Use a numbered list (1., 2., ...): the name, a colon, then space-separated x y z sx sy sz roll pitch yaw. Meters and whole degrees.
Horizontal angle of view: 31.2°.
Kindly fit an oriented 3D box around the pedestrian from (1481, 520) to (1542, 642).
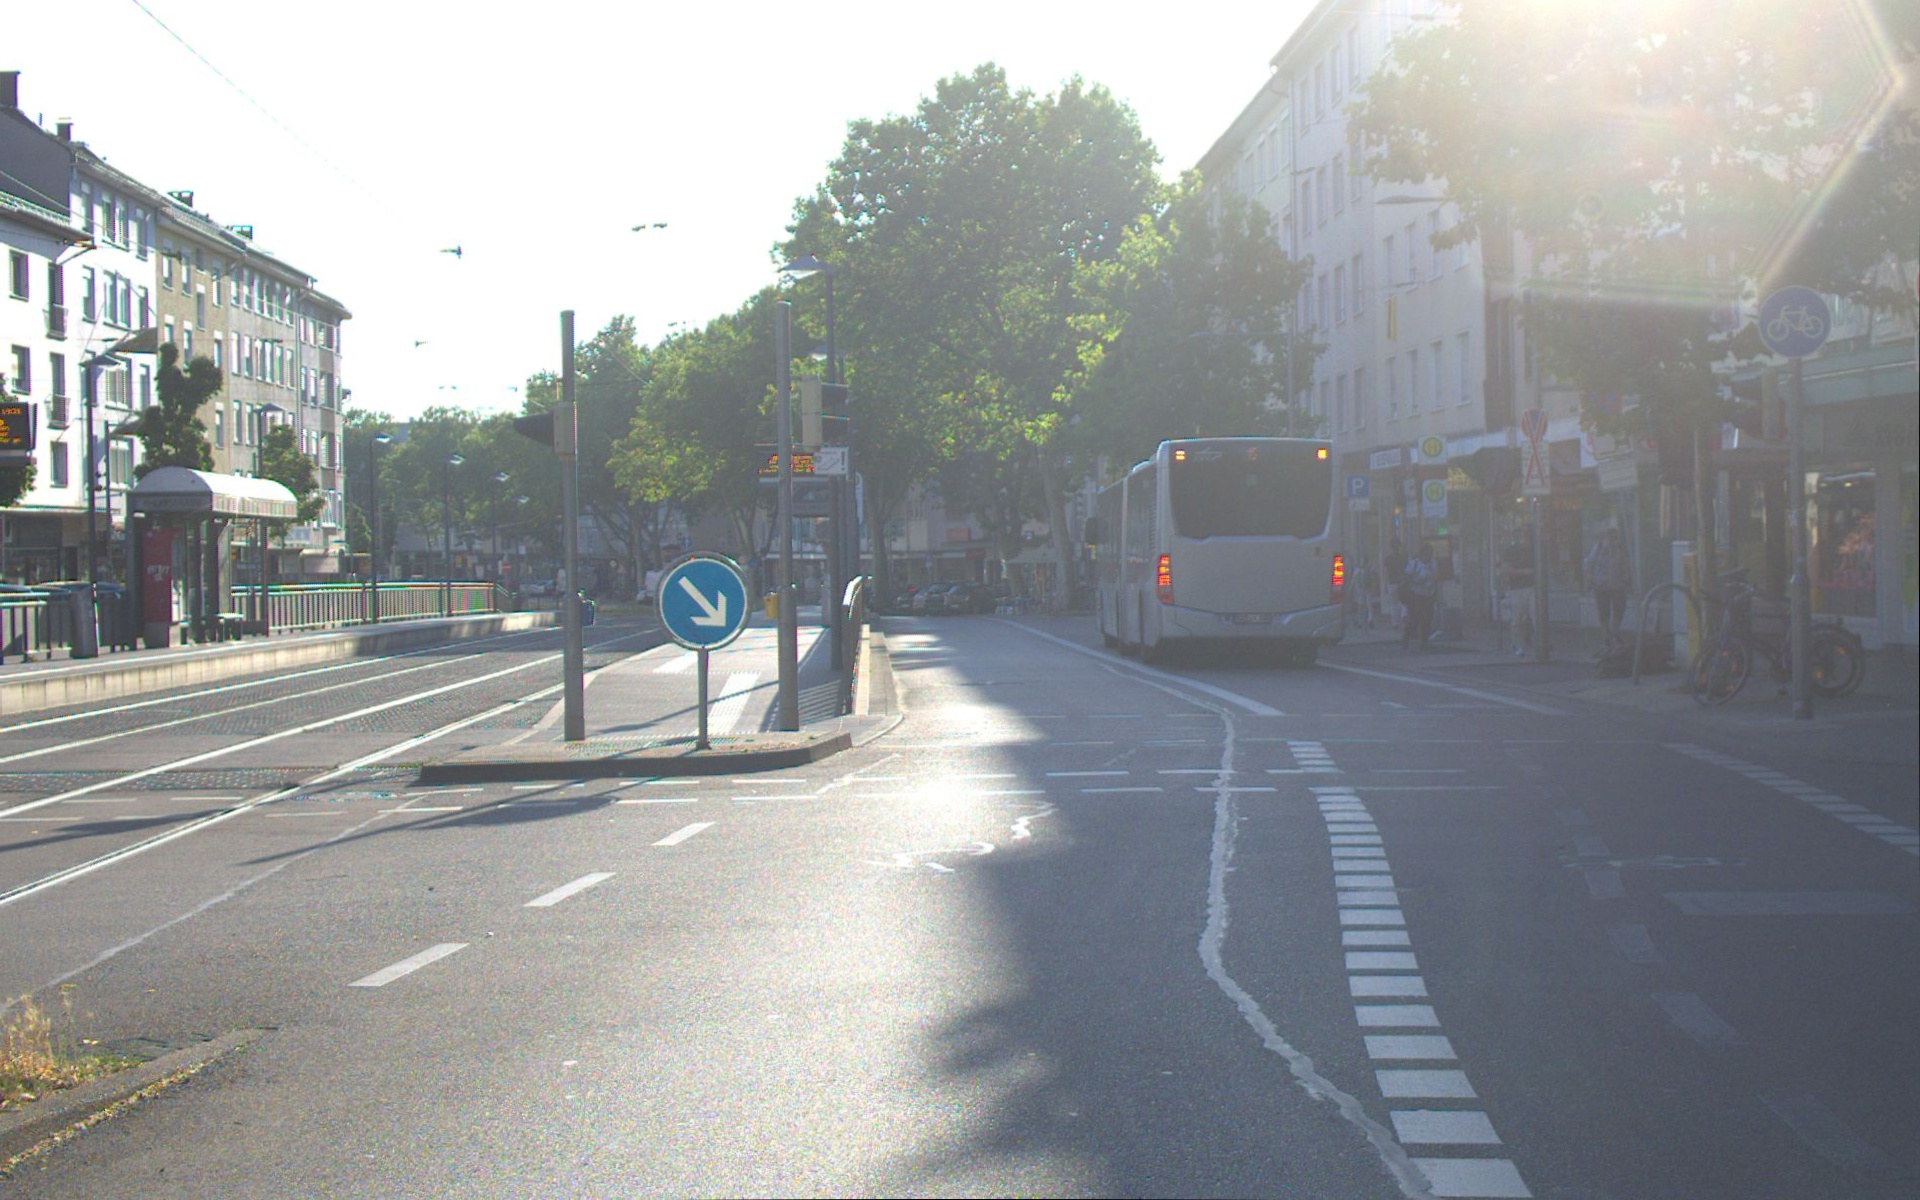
1. pedestrian: 8.105 -0.280 50.518 0.723 1.773 0.766 -1 0 -1

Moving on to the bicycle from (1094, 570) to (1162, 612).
1. bicycle: 4.937 -0.265 100.955 1.887 1.073 0.754 -5 1 2

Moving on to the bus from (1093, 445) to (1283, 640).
1. bus: 3.812 -0.972 59.408 2.696 3.107 9.070 0 1 0

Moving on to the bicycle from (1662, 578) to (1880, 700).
1. bicycle: 7.358 0.348 31.209 1.798 1.005 0.541 -3 1 -4

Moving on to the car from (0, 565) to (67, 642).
1. car: -22.131 0.103 77.635 1.768 1.674 3.504 0 2 33

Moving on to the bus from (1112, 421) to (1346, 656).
1. bus: 3.767 -0.865 50.197 2.696 3.107 9.382 0 1 0

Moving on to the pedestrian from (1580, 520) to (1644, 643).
1. pedestrian: 9.276 -0.267 48.932 0.723 1.717 0.766 -1 0 -1

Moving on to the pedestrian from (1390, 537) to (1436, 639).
1. pedestrian: 7.070 -0.199 53.697 0.610 1.573 0.851 -1 1 3

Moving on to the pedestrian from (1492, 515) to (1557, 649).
1. pedestrian: 7.740 -0.246 47.156 0.723 1.800 0.766 -1 0 -1

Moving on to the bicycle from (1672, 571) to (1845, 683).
1. bicycle: 7.401 0.248 31.890 1.482 1.005 0.454 -1 1 -4
